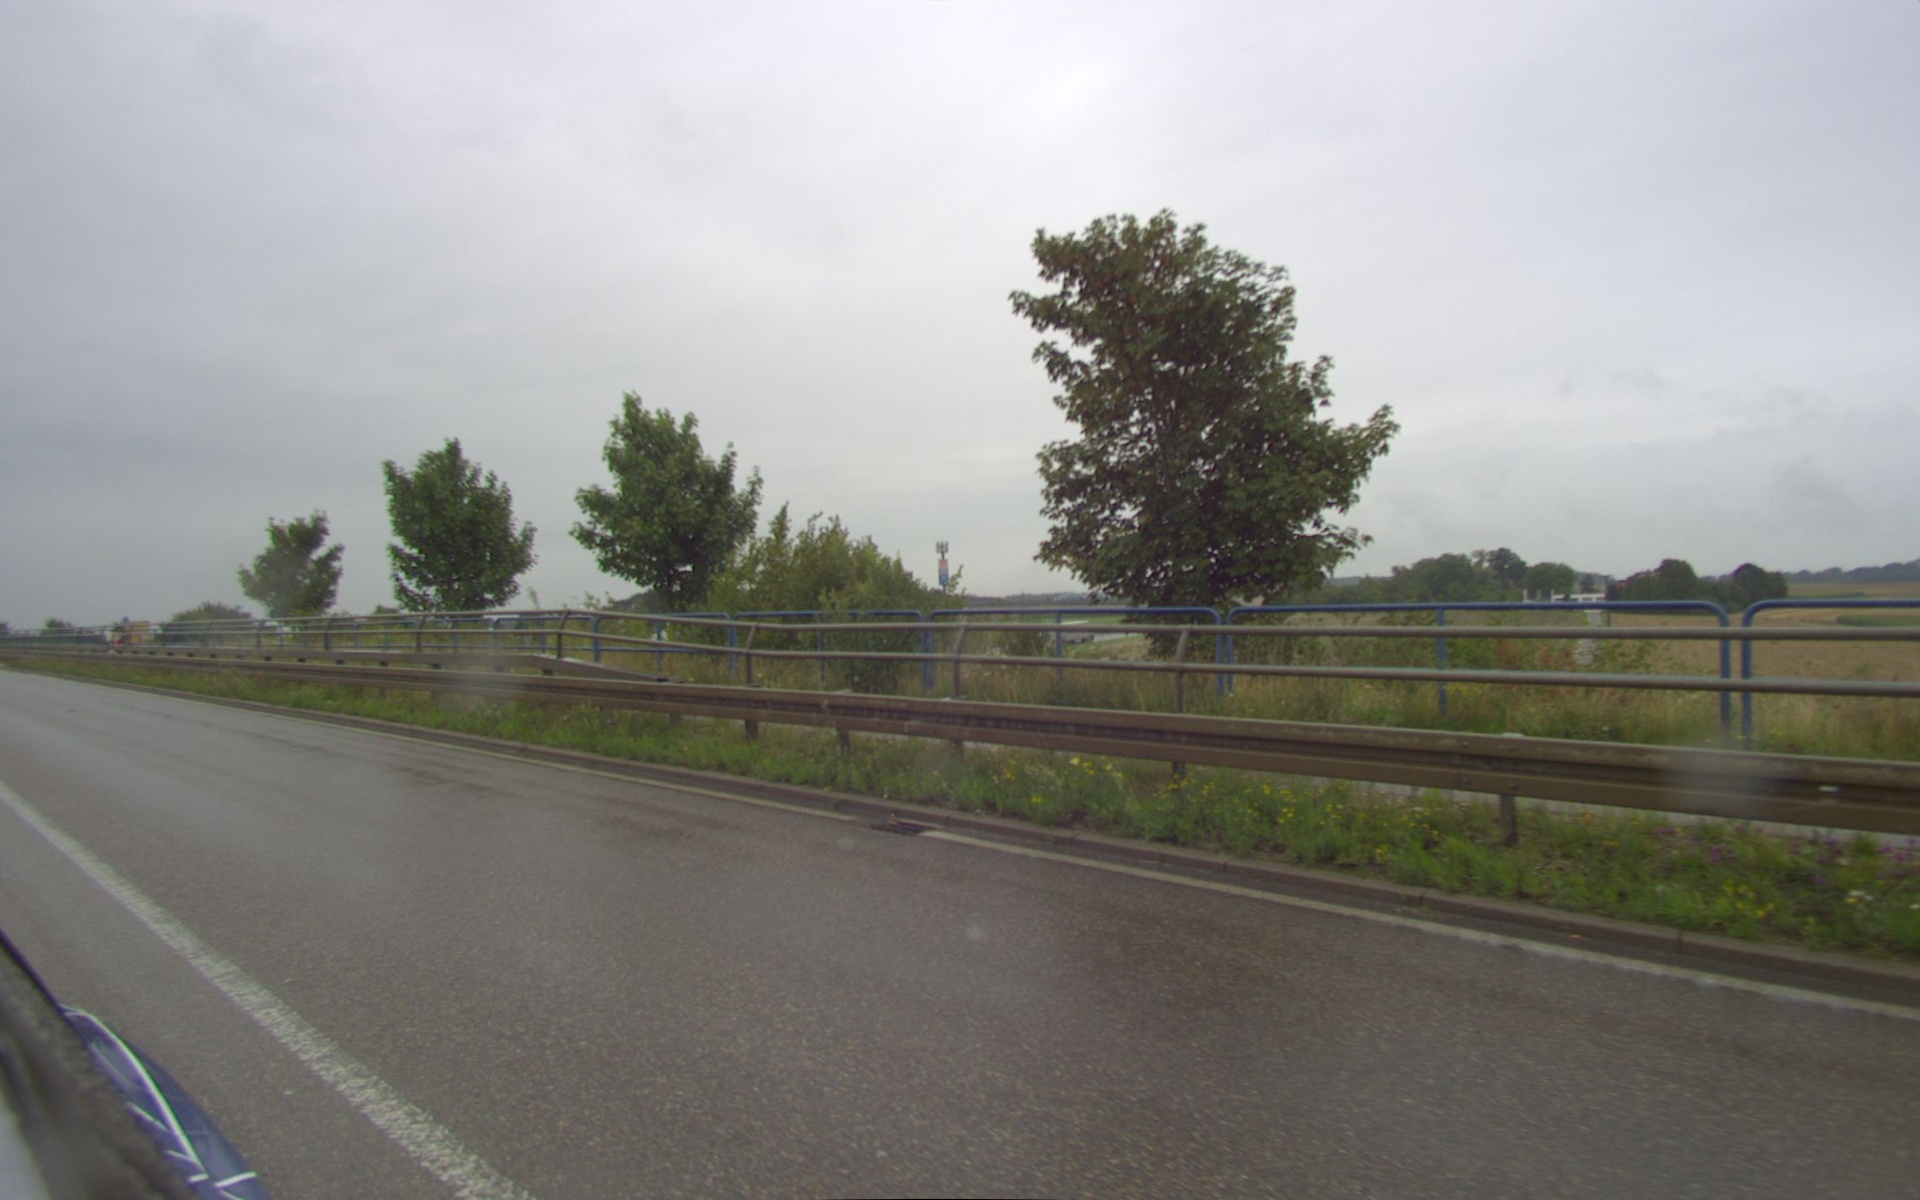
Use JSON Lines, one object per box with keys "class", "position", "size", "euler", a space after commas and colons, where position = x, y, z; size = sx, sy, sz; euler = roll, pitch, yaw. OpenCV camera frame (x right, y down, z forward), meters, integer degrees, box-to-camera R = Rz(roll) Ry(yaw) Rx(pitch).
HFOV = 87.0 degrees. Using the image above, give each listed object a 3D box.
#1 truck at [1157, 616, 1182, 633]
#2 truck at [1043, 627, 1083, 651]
{"class": "truck", "position": [53.073, 6.057, 255.902], "size": [3.335, 3.975, 11.427], "euler": [-2, 0, 26]}
{"class": "truck", "position": [19.850, 7.391, 193.479], "size": [3.338, 3.975, 11.414], "euler": [-2, 0, 29]}
